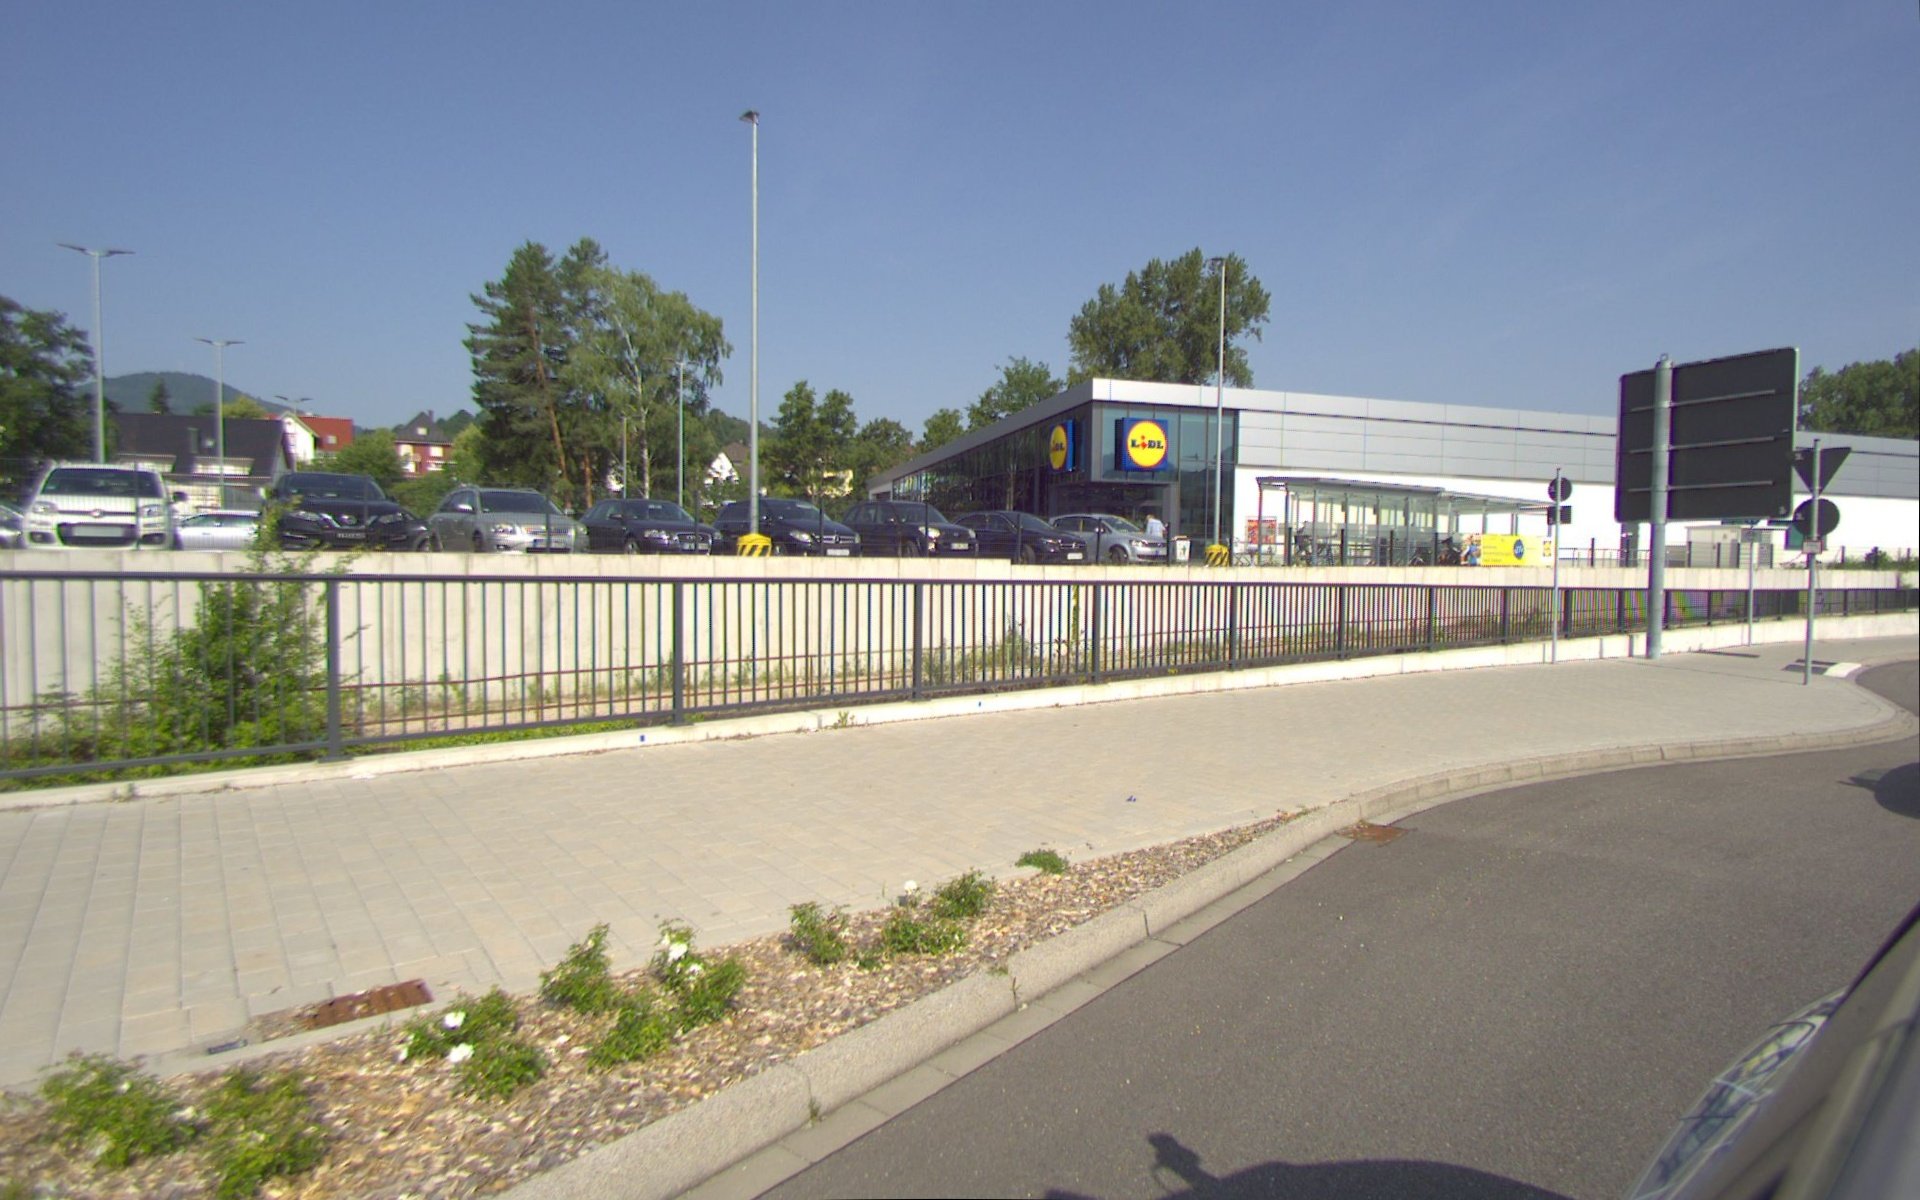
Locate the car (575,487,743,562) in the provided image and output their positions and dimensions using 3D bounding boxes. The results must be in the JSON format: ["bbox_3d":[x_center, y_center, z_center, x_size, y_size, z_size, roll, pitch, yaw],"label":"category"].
[{"bbox_3d":[-5.860,-1.411,19.389,1.699,1.261,3.977,-1,3,-39],"label":"car"}]

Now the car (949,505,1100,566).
[{"bbox_3d":[1.551,-1.635,25.801,1.459,1.421,4.072,-1,3,-39],"label":"car"}]

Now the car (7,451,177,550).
[{"bbox_3d":[-12.433,-1.364,14.657,1.683,1.214,3.565,-1,3,-39],"label":"car"}]

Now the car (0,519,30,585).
[{"bbox_3d":[-25.286,-1.187,24.537,3.699,1.628,1.611,-1,4,-30],"label":"car"}]

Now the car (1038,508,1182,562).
[{"bbox_3d":[4.081,-1.786,28.025,1.651,1.381,3.815,-1,3,-39],"label":"car"}]

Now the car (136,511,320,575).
[{"bbox_3d":[-19.638,-1.546,27.365,3.839,1.628,1.611,-1,4,-30],"label":"car"}]

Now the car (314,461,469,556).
[{"bbox_3d":[-9.568,-1.465,16.890,1.630,1.359,4.048,-1,3,-39],"label":"car"}]

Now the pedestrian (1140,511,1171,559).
[{"bbox_3d":[5.501,-1.821,28.538,0.645,1.328,0.549,-2,4,-37],"label":"pedestrian"}]

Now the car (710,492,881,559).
[{"bbox_3d":[-3.584,-1.550,21.469,1.713,1.261,4.224,-1,3,-39],"label":"car"}]

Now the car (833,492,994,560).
[{"bbox_3d":[-1.172,-1.685,23.609,1.694,1.421,4.015,-1,3,-39],"label":"car"}]

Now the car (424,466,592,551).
[{"bbox_3d":[-8.015,-1.536,17.718,1.634,1.261,4.289,-1,3,-39],"label":"car"}]
